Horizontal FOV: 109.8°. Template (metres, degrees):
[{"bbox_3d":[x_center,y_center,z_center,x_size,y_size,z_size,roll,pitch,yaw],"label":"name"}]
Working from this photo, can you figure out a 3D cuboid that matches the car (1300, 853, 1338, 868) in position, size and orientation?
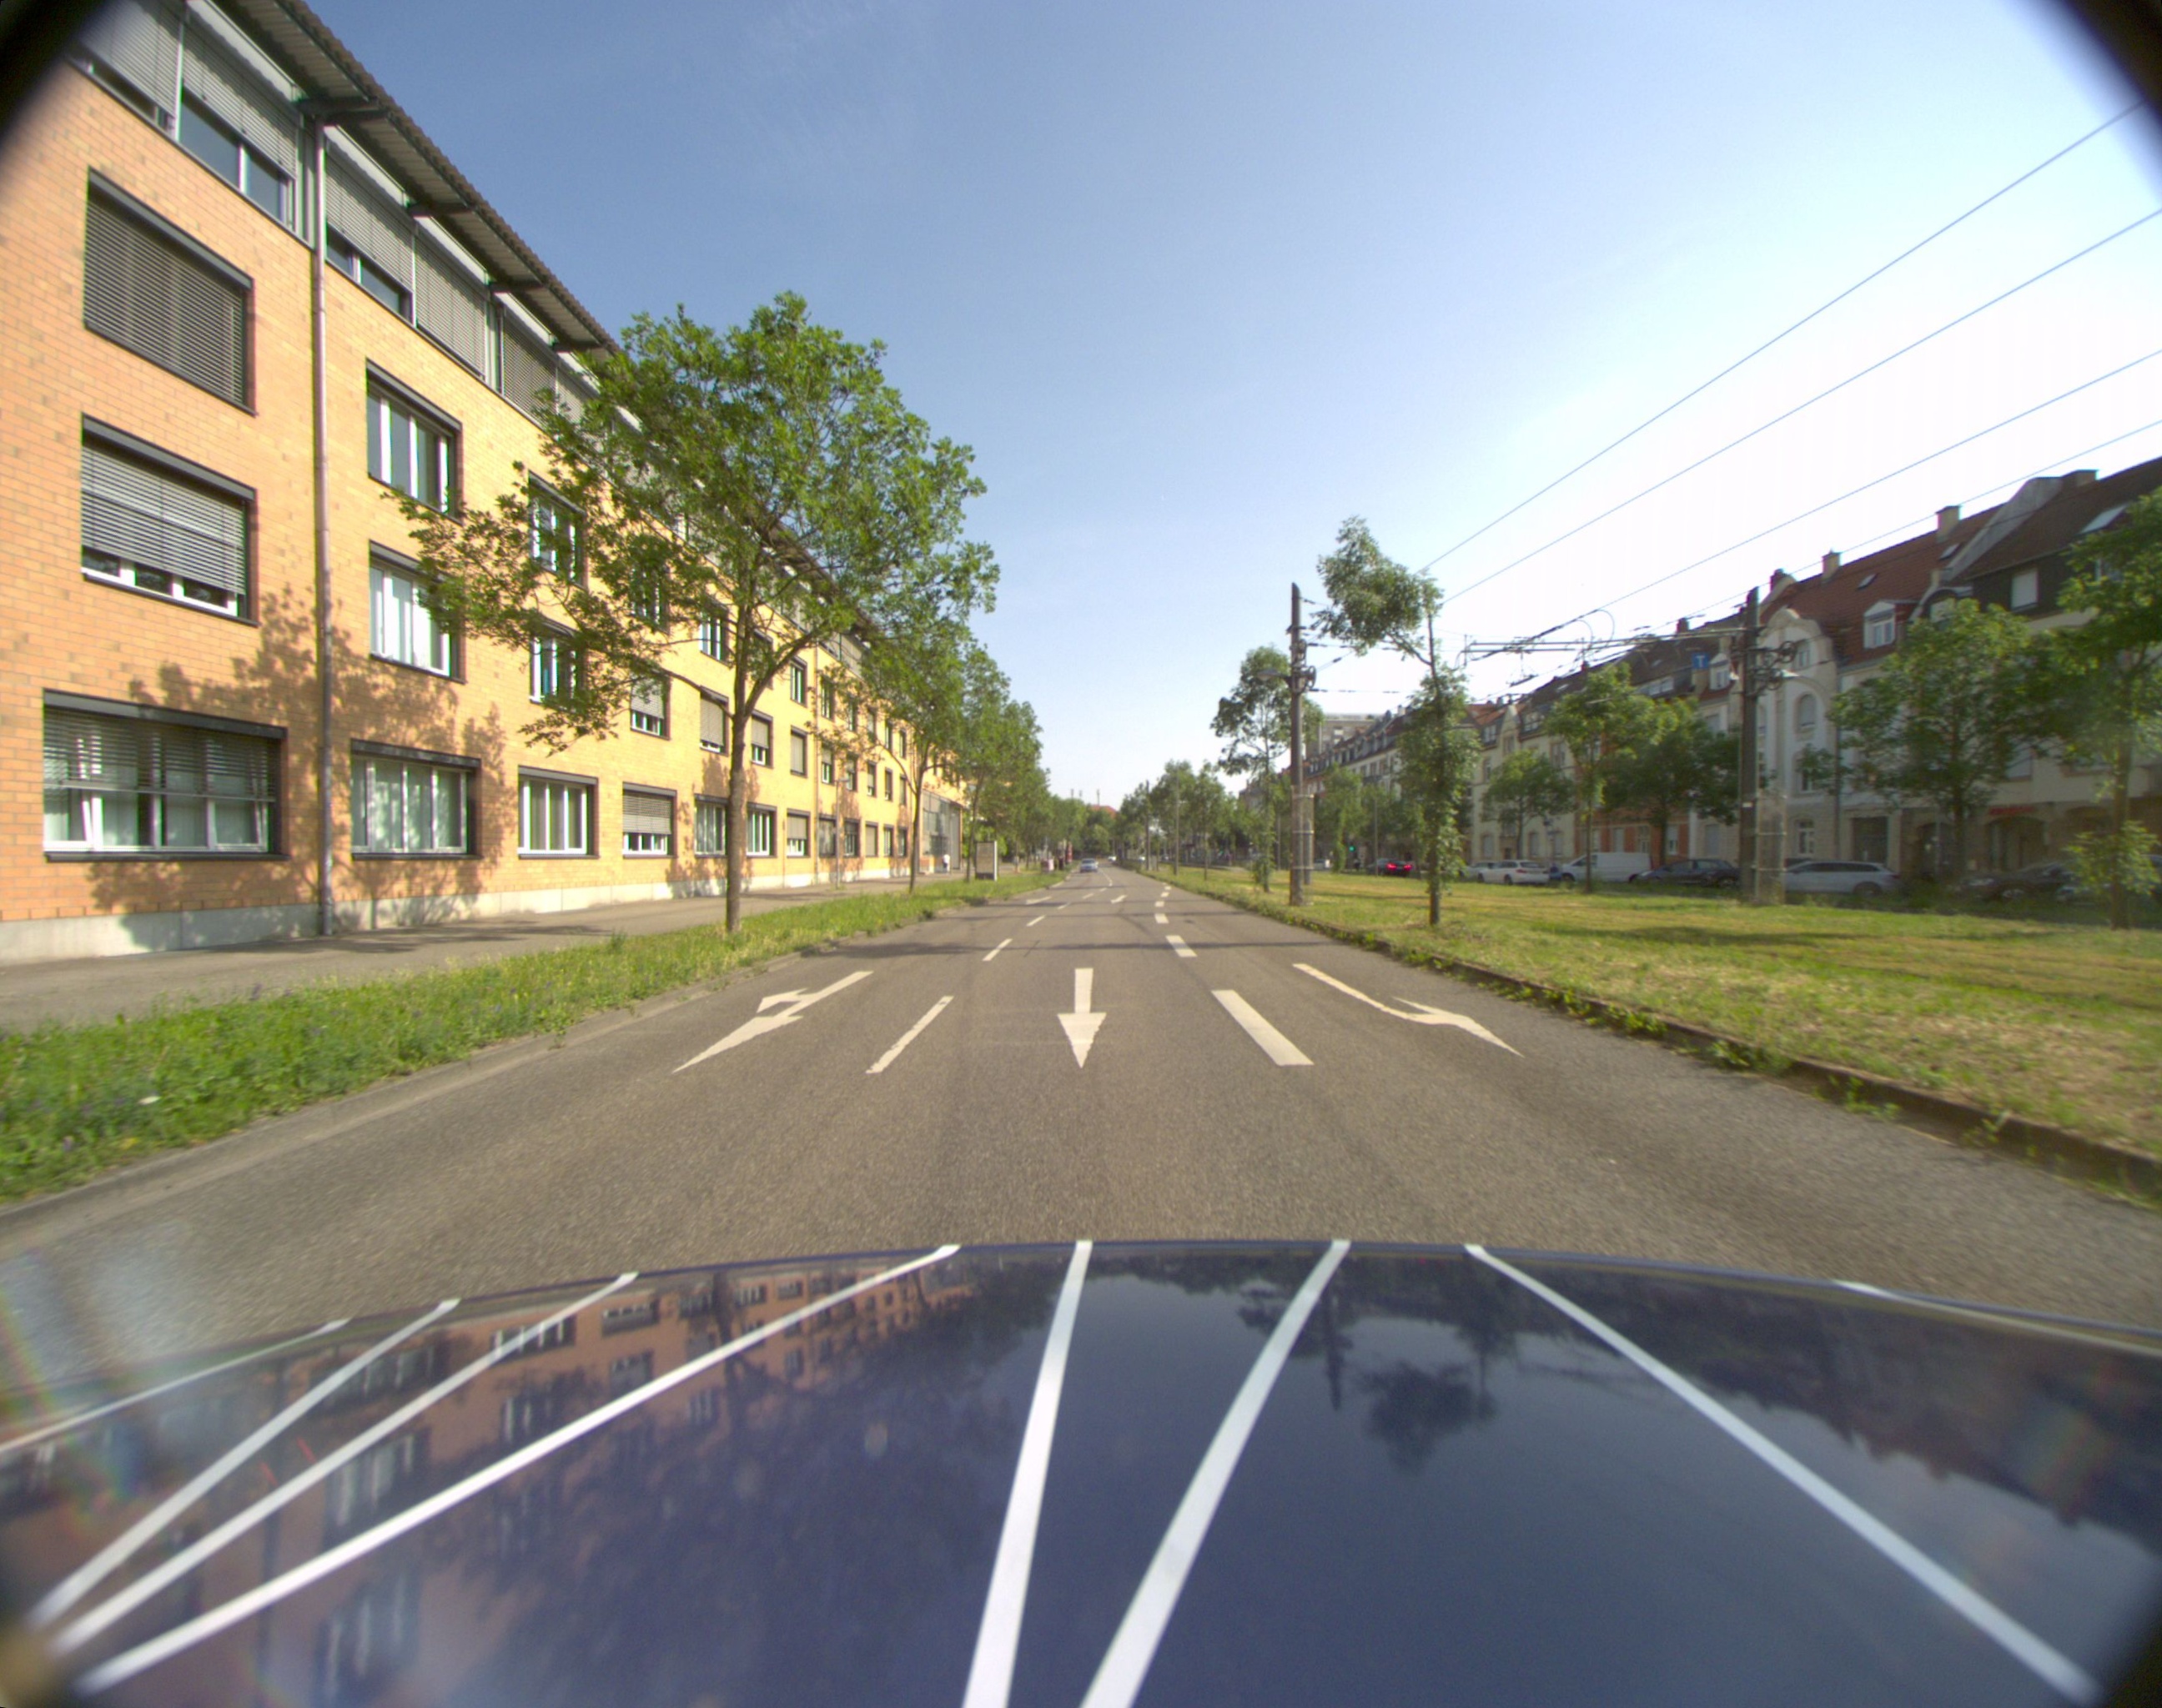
[{"bbox_3d":[29.126,0.801,93.076,3.989,1.716,2.004,-2,1,35],"label":"car"}]

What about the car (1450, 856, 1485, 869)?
[{"bbox_3d":[40.575,0.843,79.830,1.672,1.291,3.999,1,1,1],"label":"car"}]

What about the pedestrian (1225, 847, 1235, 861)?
[{"bbox_3d":[17.251,0.003,87.922,0.886,1.645,0.852,0,1,-3],"label":"pedestrian"}]

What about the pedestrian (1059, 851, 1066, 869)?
[{"bbox_3d":[-1.782,0.574,73.000,0.636,1.637,0.608,1,1,-3],"label":"pedestrian"}]

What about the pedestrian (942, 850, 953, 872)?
[{"bbox_3d":[-10.410,0.556,59.400,0.697,1.647,0.773,1,1,1],"label":"pedestrian"}]

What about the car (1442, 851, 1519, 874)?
[{"bbox_3d":[28.953,0.648,55.061,4.765,1.477,2.026,-2,1,33],"label":"car"}]

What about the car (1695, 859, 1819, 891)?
[{"bbox_3d":[28.269,0.897,31.926,3.677,1.234,1.665,-2,1,35],"label":"car"}]

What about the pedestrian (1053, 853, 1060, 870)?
[{"bbox_3d":[-2.390,0.694,74.581,0.707,1.637,0.689,1,1,-2],"label":"pedestrian"}]

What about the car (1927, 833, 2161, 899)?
[{"bbox_3d":[28.485,0.354,22.208,4.637,1.733,1.836,-2,1,25],"label":"car"}]

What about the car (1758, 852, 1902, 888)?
[{"bbox_3d":[28.360,0.612,28.945,3.677,1.234,1.665,-2,1,35],"label":"car"}]

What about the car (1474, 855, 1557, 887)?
[{"bbox_3d":[23.226,0.849,40.819,1.952,1.451,4.648,-2,1,3],"label":"car"}]

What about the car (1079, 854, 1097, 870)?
[{"bbox_3d":[0.688,0.835,77.819,1.629,1.476,3.365,-3,1,-1],"label":"car"}]

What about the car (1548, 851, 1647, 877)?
[{"bbox_3d":[30.167,0.611,44.494,4.687,1.340,1.860,-2,1,35],"label":"car"}]

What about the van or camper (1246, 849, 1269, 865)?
[{"bbox_3d":[24.402,0.425,105.299,1.956,2.085,5.352,-3,1,0],"label":"van or camper"}]

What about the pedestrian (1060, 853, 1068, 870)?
[{"bbox_3d":[-1.636,0.699,71.693,0.707,1.637,0.689,1,1,-2],"label":"pedestrian"}]

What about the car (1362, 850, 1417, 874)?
[{"bbox_3d":[23.515,0.549,58.133,1.998,1.621,5.379,-3,1,0],"label":"car"}]

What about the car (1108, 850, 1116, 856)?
[{"bbox_3d":[7.517,-0.245,186.048,1.693,1.476,3.365,-3,1,-1],"label":"car"}]

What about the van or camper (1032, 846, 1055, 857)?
[{"bbox_3d":[-9.938,-0.761,201.645,5.801,2.678,2.407,-2,1,-3],"label":"van or camper"}]

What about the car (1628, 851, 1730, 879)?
[{"bbox_3d":[28.153,0.544,35.919,3.677,1.234,1.529,-2,-1,35],"label":"car"}]

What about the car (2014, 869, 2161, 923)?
[{"bbox_3d":[27.229,1.070,19.598,3.677,1.234,1.665,-2,1,35],"label":"car"}]

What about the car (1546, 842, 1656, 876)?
[{"bbox_3d":[28.799,0.279,42.224,4.939,1.716,1.860,-2,1,35],"label":"car"}]
